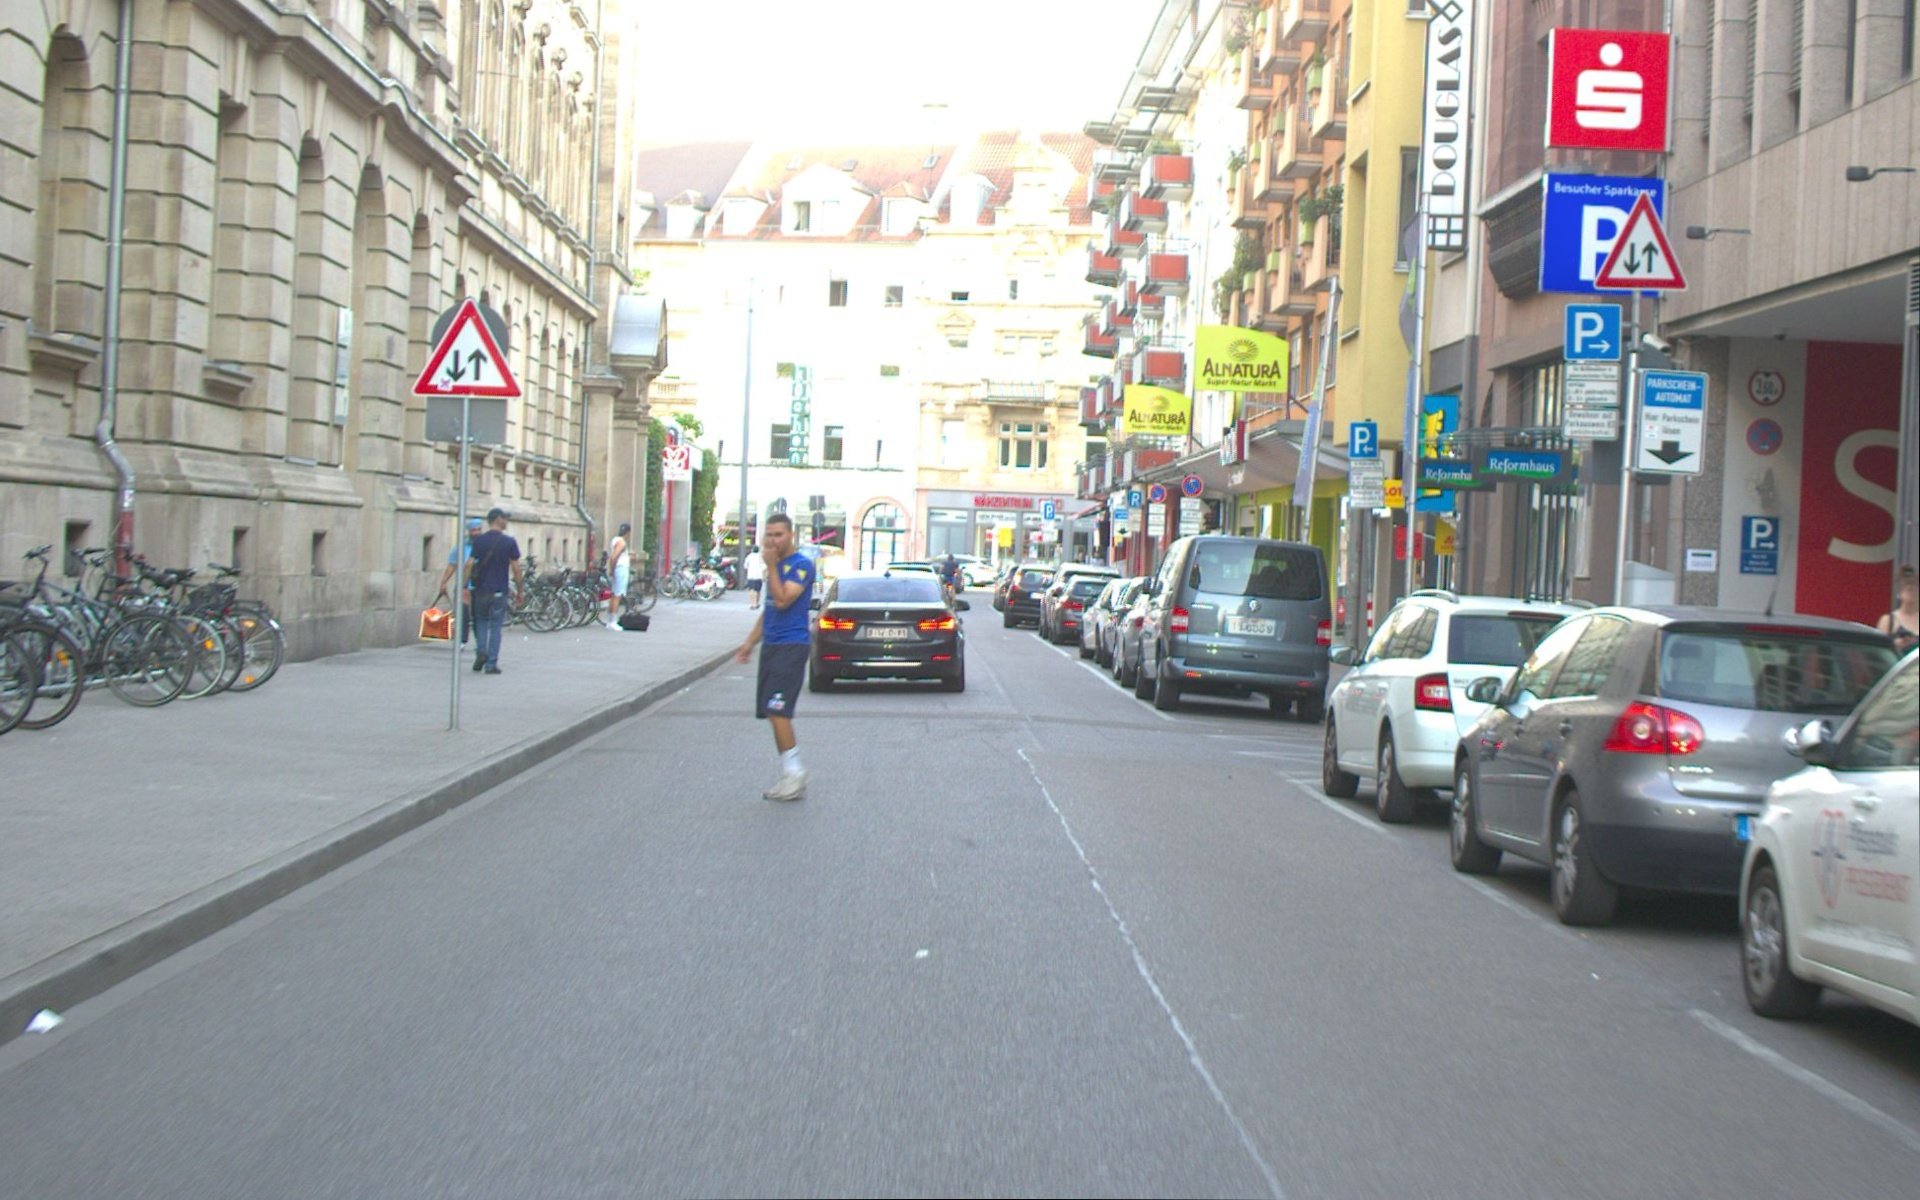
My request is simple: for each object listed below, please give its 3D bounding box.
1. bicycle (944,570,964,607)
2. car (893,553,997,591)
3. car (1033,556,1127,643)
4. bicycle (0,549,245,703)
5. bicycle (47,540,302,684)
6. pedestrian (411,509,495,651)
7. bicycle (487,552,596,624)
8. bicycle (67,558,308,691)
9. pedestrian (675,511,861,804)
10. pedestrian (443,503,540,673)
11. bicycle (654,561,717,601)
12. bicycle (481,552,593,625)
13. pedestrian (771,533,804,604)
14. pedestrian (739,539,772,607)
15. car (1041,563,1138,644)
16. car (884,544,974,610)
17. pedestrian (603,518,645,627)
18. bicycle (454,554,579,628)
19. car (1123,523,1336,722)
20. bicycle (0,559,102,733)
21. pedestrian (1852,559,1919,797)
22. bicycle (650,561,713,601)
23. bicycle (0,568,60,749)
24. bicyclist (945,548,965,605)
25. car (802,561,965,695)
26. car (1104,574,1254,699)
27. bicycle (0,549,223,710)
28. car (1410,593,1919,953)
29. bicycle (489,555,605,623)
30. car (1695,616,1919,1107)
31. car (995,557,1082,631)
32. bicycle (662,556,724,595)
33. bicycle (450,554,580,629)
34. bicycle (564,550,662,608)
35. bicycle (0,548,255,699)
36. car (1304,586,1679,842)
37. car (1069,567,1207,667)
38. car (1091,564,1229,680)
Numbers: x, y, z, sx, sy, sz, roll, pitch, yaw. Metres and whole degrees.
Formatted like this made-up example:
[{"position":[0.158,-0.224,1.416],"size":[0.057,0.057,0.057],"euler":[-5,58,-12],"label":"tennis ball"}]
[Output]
[{"position":[-0.179,-0.360,107.326],"size":[0.536,1.104,1.800],"euler":[3,1,1],"label":"bicycle"},{"position":[-0.701,-1.296,157.937],"size":[4.357,1.557,1.866],"euler":[2,0,22],"label":"car"},{"position":[2.579,-0.042,75.106],"size":[1.752,1.662,4.756],"euler":[5,1,0],"label":"car"},{"position":[-6.728,0.201,27.292],"size":[1.937,1.074,0.730],"euler":[4,0,-7],"label":"bicycle"},{"position":[-6.689,0.100,29.329],"size":[1.937,1.074,0.748],"euler":[4,0,-1],"label":"bicycle"},{"position":[-6.477,-0.258,43.907],"size":[0.828,1.740,0.769],"euler":[5,1,0],"label":"pedestrian"},{"position":[-7.206,-0.207,59.271],"size":[1.794,1.104,0.500],"euler":[4,0,-6],"label":"bicycle"},{"position":[-6.785,0.214,30.249],"size":[1.935,1.042,0.722],"euler":[3,1,-5],"label":"bicycle"},{"position":[-1.202,0.344,21.516],"size":[0.818,1.782,0.778],"euler":[1,1,-42],"label":"pedestrian"},{"position":[-5.019,-0.128,36.874],"size":[0.809,1.744,0.969],"euler":[4,0,-1],"label":"pedestrian"},{"position":[-8.184,-0.571,102.411],"size":[1.794,1.104,0.500],"euler":[3,1,0],"label":"bicycle"},{"position":[-7.137,-0.197,58.072],"size":[1.794,1.104,0.500],"euler":[4,0,-6],"label":"bicycle"},{"position":[-4.748,-0.871,94.873],"size":[0.744,1.887,1.050],"euler":[4,1,0],"label":"pedestrian"},{"position":[-5.620,-0.751,94.534],"size":[0.741,1.806,1.009],"euler":[5,1,-1],"label":"pedestrian"},{"position":[2.612,0.048,70.137],"size":[1.691,1.410,4.756],"euler":[5,1,0],"label":"car"},{"position":[-0.714,-0.574,82.992],"size":[1.878,1.468,4.000],"euler":[2,1,3],"label":"car"},{"position":[-5.809,-0.480,59.413],"size":[0.588,1.845,0.754],"euler":[4,1,-6],"label":"pedestrian"},{"position":[-7.198,-0.145,55.852],"size":[1.937,1.058,0.620],"euler":[4,0,-6],"label":"bicycle"},{"position":[3.051,0.230,39.909],"size":[1.846,2.051,5.054],"euler":[4,0,-1],"label":"car"},{"position":[-6.650,0.243,22.352],"size":[1.937,1.074,0.730],"euler":[4,0,-7],"label":"bicycle"},{"position":[6.652,0.536,23.994],"size":[0.648,1.630,0.650],"euler":[1,1,-2],"label":"pedestrian"},{"position":[-8.317,-0.581,102.756],"size":[1.794,1.104,0.500],"euler":[3,1,-1],"label":"bicycle"},{"position":[-6.620,0.291,21.163],"size":[1.937,1.074,0.730],"euler":[4,0,-7],"label":"bicycle"},{"position":[-0.156,-0.747,107.298],"size":[0.523,1.750,0.620],"euler":[3,0,1],"label":"bicyclist"},{"position":[-0.866,0.287,40.998],"size":[1.765,1.370,4.791],"euler":[3,1,0],"label":"car"},{"position":[2.946,0.462,47.002],"size":[1.687,1.448,4.498],"euler":[5,1,1],"label":"car"},{"position":[-6.624,0.207,25.977],"size":[1.937,1.074,0.730],"euler":[4,0,-7],"label":"bicycle"},{"position":[3.473,0.746,17.008],"size":[1.656,1.443,4.446],"euler":[4,0,-2],"label":"car"},{"position":[-7.211,-0.186,60.086],"size":[1.937,1.058,0.620],"euler":[4,0,-6],"label":"bicycle"},{"position":[3.740,0.842,11.463],"size":[1.656,1.443,3.869],"euler":[4,0,0],"label":"car"},{"position":[1.953,-0.177,84.350],"size":[1.794,1.604,4.486],"euler":[5,1,4],"label":"car"},{"position":[-8.156,-0.753,104.932],"size":[1.794,1.104,0.500],"euler":[3,1,3],"label":"bicycle"},{"position":[-7.061,-0.139,54.605],"size":[1.937,1.058,0.620],"euler":[4,0,-1],"label":"bicycle"},{"position":[-7.465,-0.444,73.991],"size":[1.936,1.058,0.620],"euler":[6,0,-15],"label":"bicycle"},{"position":[-6.808,0.188,28.063],"size":[1.937,1.074,0.730],"euler":[4,0,-7],"label":"bicycle"},{"position":[3.437,0.683,22.982],"size":[1.656,1.443,4.308],"euler":[4,0,-1],"label":"car"},{"position":[2.917,0.248,57.287],"size":[1.691,1.406,4.640],"euler":[5,1,-3],"label":"car"},{"position":[2.991,0.295,52.115],"size":[1.618,1.511,4.174],"euler":[5,1,-2],"label":"car"}]
